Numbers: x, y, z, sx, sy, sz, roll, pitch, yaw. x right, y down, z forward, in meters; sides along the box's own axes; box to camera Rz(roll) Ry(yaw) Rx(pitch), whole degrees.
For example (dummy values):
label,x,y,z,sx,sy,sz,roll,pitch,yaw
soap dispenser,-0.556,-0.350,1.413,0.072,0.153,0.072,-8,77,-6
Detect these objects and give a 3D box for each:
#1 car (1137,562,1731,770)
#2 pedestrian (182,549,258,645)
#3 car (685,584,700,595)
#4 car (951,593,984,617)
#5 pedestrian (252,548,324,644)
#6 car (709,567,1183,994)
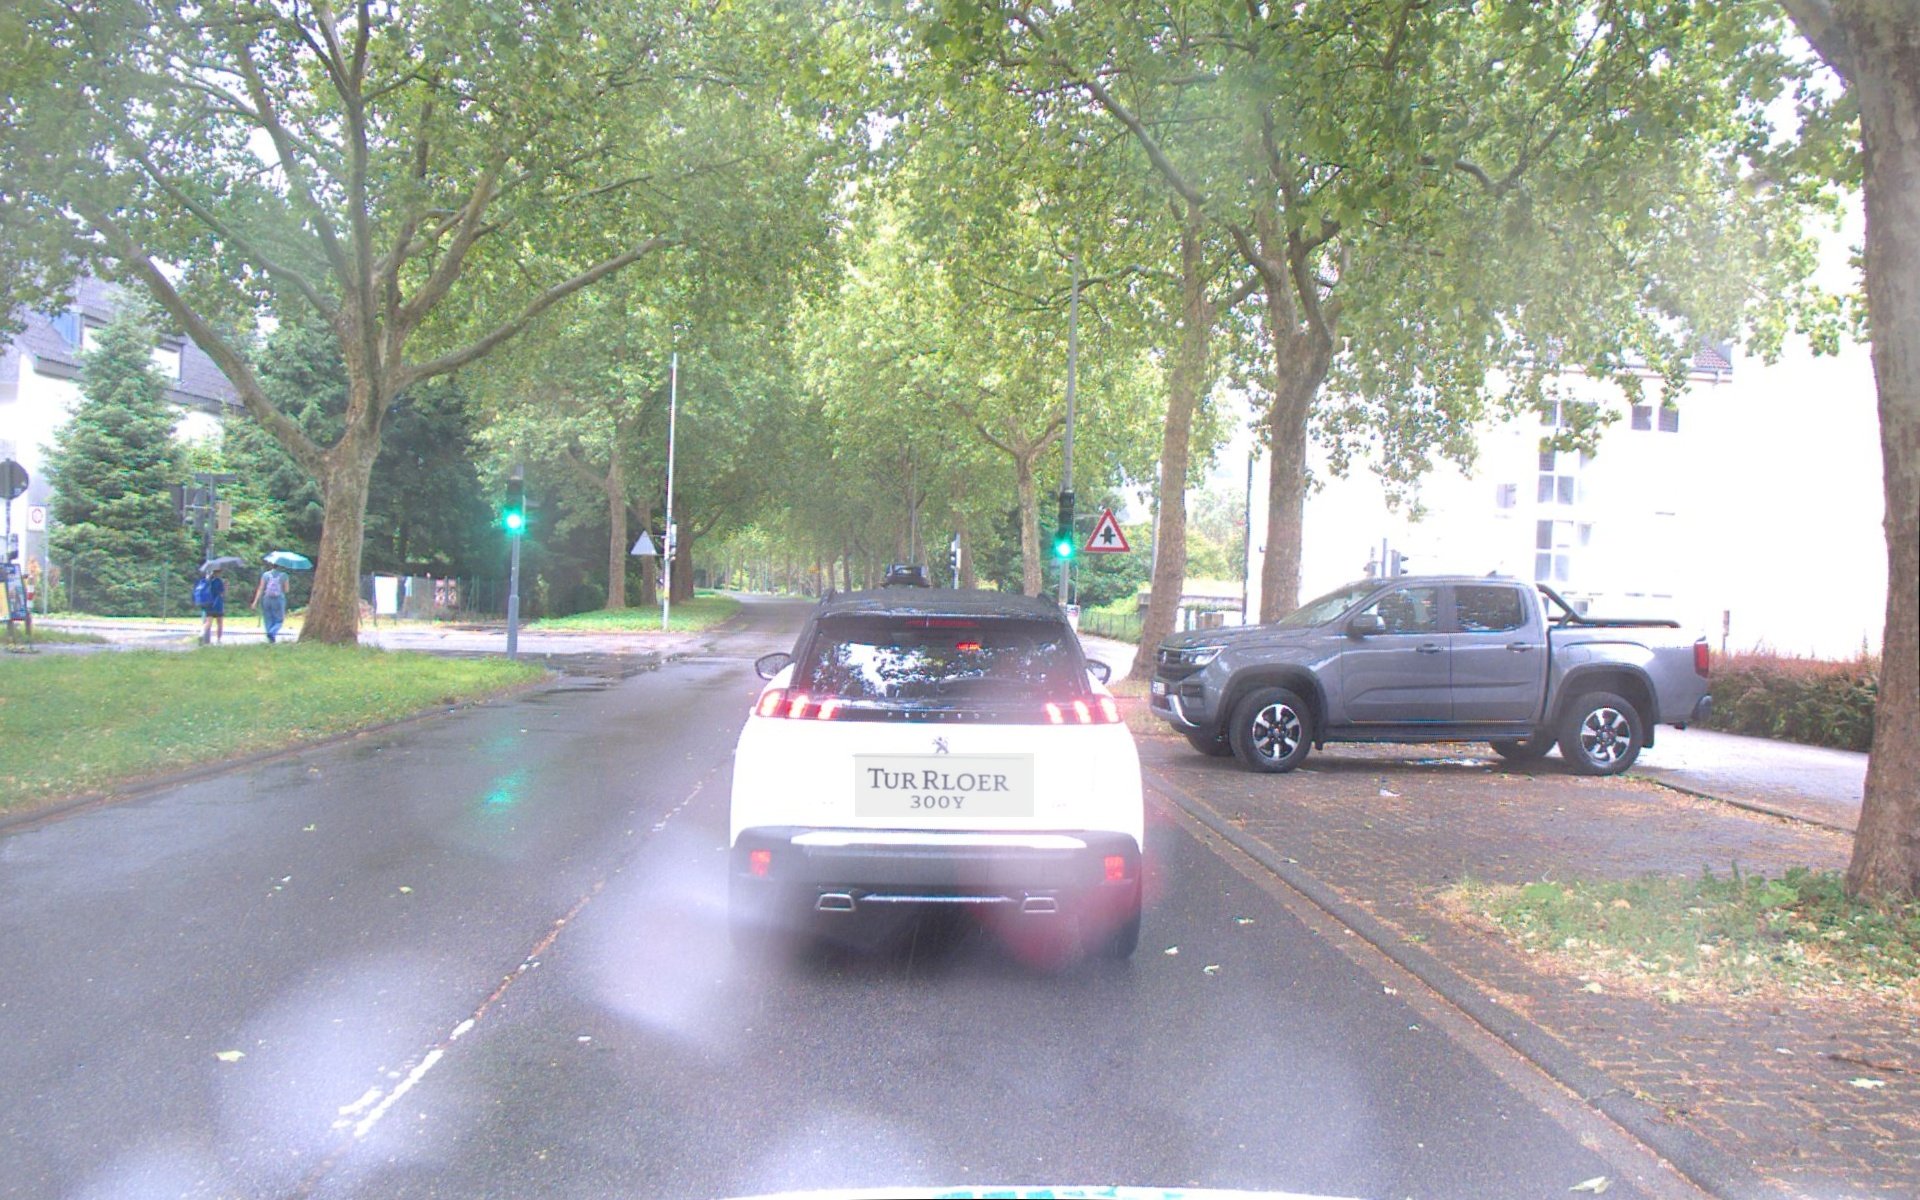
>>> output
label,x,y,z,sx,sy,sz,roll,pitch,yaw
car,4.502,0.621,16.033,5.238,1.838,1.842,1,0,-8
pedestrian,-14.145,-0.064,31.643,1.012,1.796,0.879,1,0,-1
car,-40.942,-1.584,253.259,1.837,1.706,3.704,2,0,-5
car,0.499,0.305,111.614,1.868,1.536,3.927,2,0,-5
pedestrian,-12.962,-0.079,31.912,1.012,1.796,0.838,1,0,-1
car,-0.091,0.664,8.228,1.744,1.563,4.056,1,0,-1
